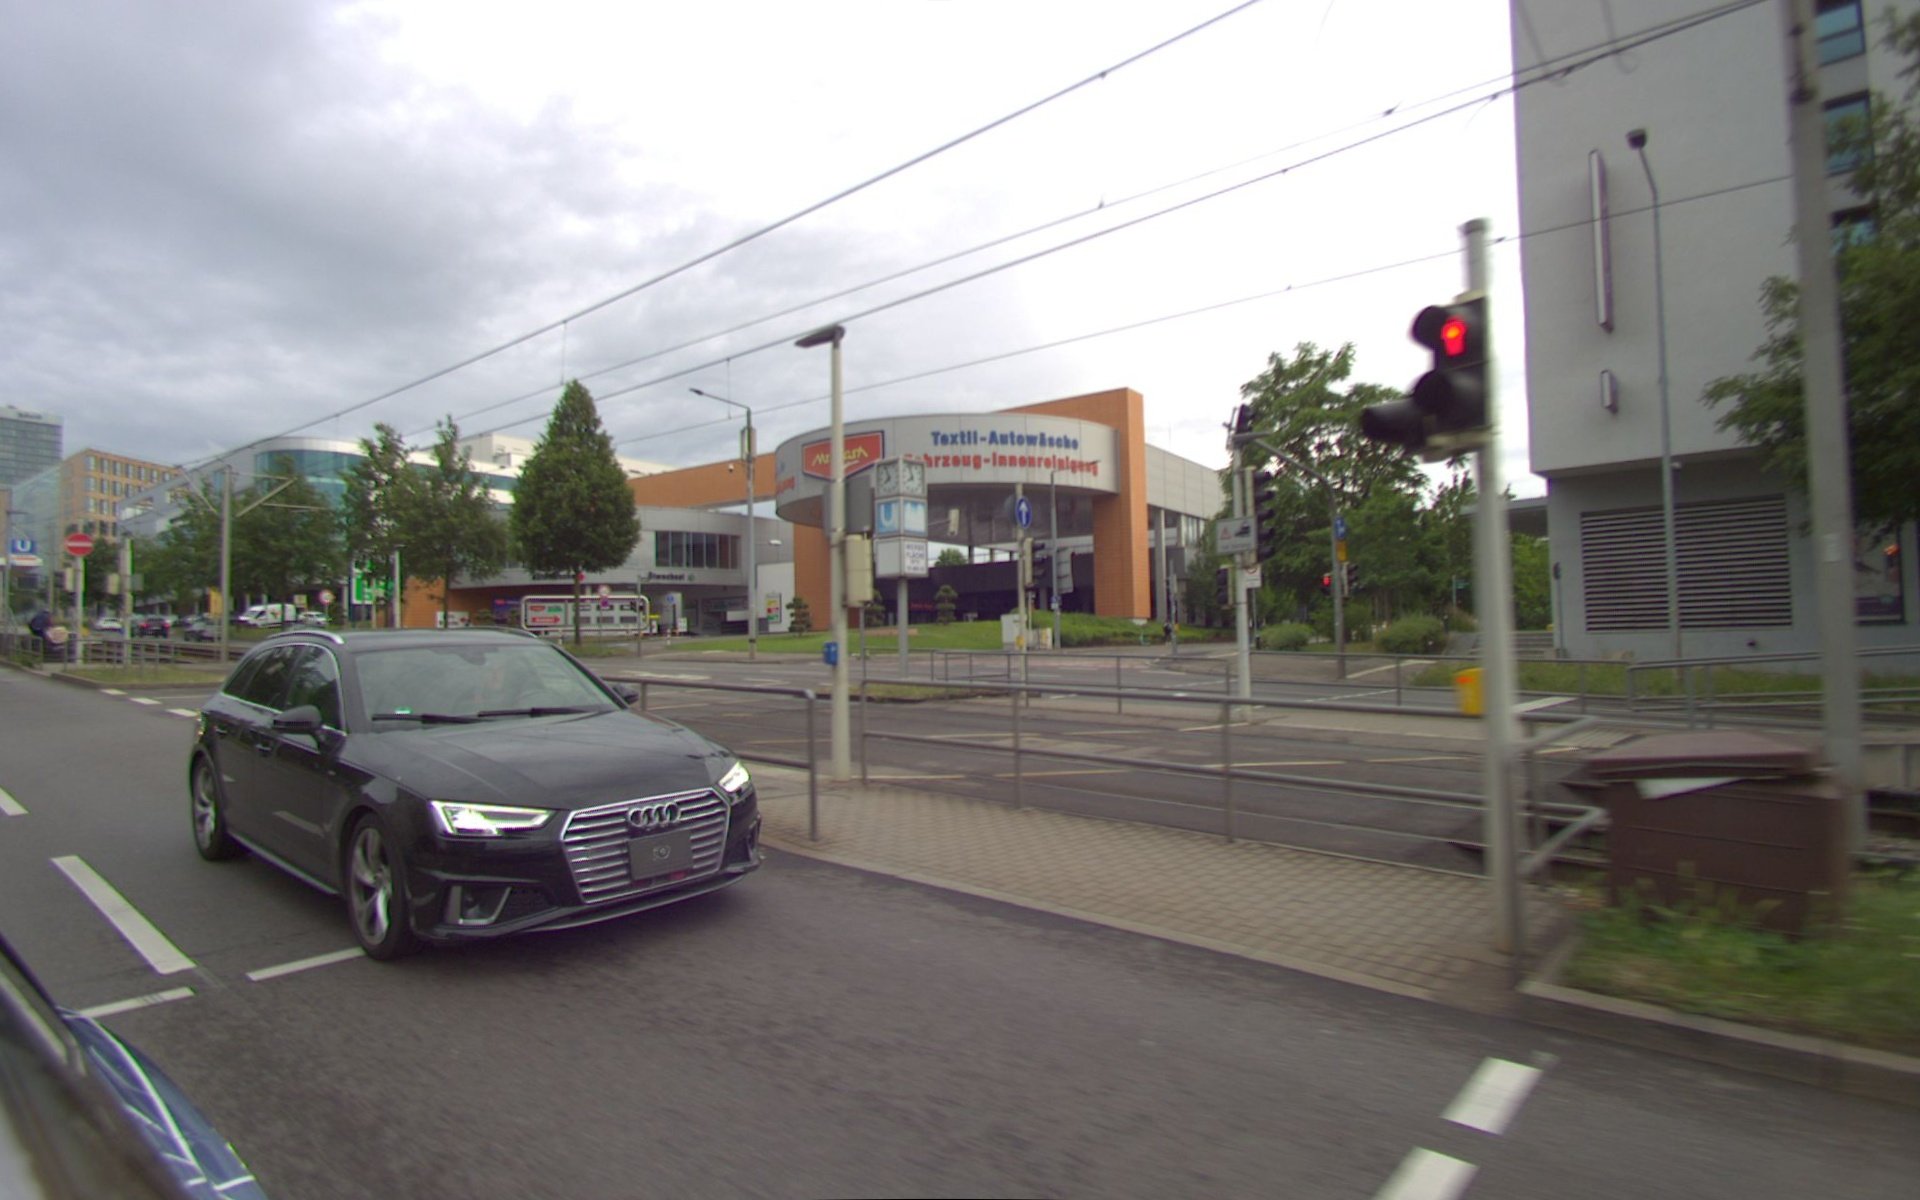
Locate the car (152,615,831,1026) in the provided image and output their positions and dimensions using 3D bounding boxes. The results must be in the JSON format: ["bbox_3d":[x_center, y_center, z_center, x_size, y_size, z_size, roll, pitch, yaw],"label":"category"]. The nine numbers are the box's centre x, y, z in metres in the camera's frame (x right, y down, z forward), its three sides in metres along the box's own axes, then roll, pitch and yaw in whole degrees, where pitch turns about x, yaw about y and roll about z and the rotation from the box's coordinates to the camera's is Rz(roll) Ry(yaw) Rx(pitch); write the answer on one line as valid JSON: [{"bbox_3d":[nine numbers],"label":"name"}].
[{"bbox_3d":[-3.030,0.834,5.879,4.826,1.445,1.772,-1,-1,41],"label":"car"}]

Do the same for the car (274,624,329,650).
[{"bbox_3d":[-38.943,2.151,59.822,3.777,1.434,1.710,-1,-1,41],"label":"car"}]

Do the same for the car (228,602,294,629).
[{"bbox_3d":[-75.397,1.642,109.228,2.265,2.648,5.442,-1,1,23],"label":"car"}]

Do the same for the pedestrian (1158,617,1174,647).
[{"bbox_3d":[14.186,2.166,69.706,0.775,2.045,0.876,-1,-1,30],"label":"pedestrian"}]

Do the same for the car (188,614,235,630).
[{"bbox_3d":[-87.376,2.536,118.209,1.917,1.674,3.955,-1,1,34],"label":"car"}]

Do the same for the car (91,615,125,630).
[{"bbox_3d":[-91.342,2.387,108.474,4.702,1.529,1.974,0,1,39],"label":"car"}]

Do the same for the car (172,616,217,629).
[{"bbox_3d":[-91.905,2.662,121.538,1.819,1.502,3.954,-1,-1,34],"label":"car"}]

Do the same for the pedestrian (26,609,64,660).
[{"bbox_3d":[-30.361,1.145,33.582,0.643,1.663,0.700,-1,-1,12],"label":"pedestrian"}]

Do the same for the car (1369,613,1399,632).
[{"bbox_3d":[47.869,2.484,114.220,2.235,2.029,3.952,0,1,36],"label":"car"}]

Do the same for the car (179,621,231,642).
[{"bbox_3d":[-52.825,2.188,70.789,4.384,1.438,1.835,-1,-3,39],"label":"car"}]

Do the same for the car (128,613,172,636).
[{"bbox_3d":[-64.865,1.953,81.038,4.387,1.788,1.973,-1,-1,41],"label":"car"}]

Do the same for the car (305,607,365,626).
[{"bbox_3d":[-70.691,1.822,114.536,2.273,1.940,5.421,0,1,34],"label":"car"}]

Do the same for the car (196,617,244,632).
[{"bbox_3d":[-83.889,2.722,114.754,1.891,1.519,3.956,0,1,32],"label":"car"}]

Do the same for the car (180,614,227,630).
[{"bbox_3d":[-89.516,2.546,119.808,1.917,1.674,3.955,-1,1,34],"label":"car"}]
